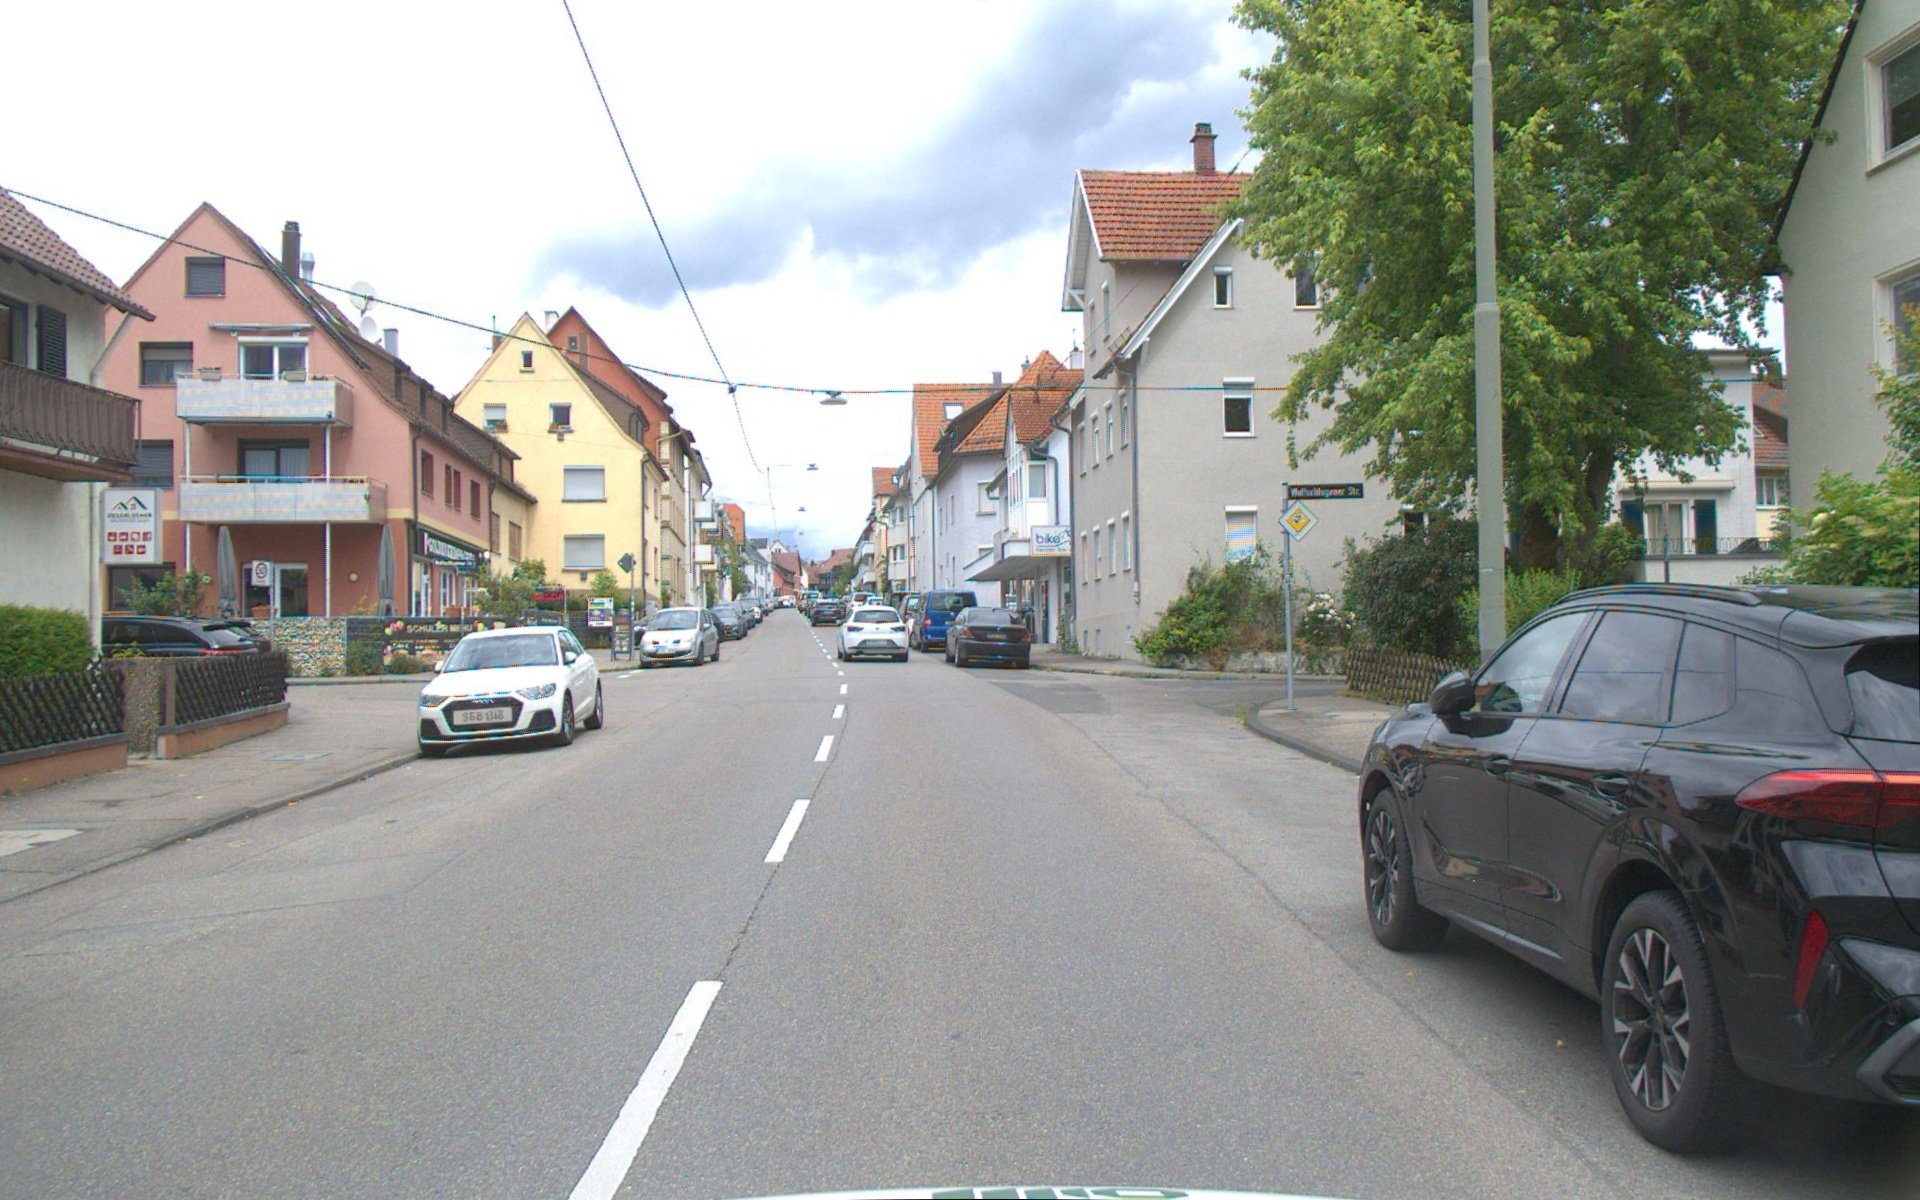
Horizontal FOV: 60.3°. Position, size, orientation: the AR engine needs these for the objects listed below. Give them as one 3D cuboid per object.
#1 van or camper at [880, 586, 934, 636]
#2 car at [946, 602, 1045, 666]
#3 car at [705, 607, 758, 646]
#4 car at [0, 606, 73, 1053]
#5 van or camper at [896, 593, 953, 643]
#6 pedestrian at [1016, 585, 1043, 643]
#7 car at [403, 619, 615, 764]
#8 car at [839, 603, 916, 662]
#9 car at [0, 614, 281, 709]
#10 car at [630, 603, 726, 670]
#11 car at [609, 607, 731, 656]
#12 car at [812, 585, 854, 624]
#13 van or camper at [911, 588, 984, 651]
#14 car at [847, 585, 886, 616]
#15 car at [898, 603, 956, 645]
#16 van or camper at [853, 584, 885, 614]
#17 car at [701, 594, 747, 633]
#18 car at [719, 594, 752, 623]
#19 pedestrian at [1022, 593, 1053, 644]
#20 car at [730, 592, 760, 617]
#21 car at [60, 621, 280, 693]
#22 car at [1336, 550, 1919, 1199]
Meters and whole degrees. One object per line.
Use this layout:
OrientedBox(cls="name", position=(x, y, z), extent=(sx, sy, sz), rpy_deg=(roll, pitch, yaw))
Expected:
OrientedBox(cls="van or camper", position=(-2.402, 0.472, 73.674), extent=(1.955, 2.102, 5.937), rpy_deg=(1, 0, -6))
OrientedBox(cls="car", position=(0.863, 0.851, 42.862), extent=(1.955, 1.544, 4.885), rpy_deg=(1, 0, -6))
OrientedBox(cls="car", position=(-9.985, 1.136, 72.550), extent=(1.955, 1.497, 4.239), rpy_deg=(-4, 1, -5))
OrientedBox(cls="car", position=(-4.593, 0.935, 4.437), extent=(1.810, 1.709, 4.785), rpy_deg=(-5, 0, -1))
OrientedBox(cls="van or camper", position=(-1.450, 0.687, 65.967), extent=(1.835, 1.861, 4.673), rpy_deg=(1, 0, -6))
OrientedBox(cls="pedestrian", position=(2.474, 0.499, 58.725), extent=(0.745, 2.049, 0.618), rpy_deg=(-1, 0, 29))
OrientedBox(cls="car", position=(-5.520, 1.061, 20.711), extent=(1.692, 1.483, 3.896), rpy_deg=(-5, 0, -4))
OrientedBox(cls="car", position=(-2.256, 0.836, 44.375), extent=(1.903, 1.464, 3.996), rpy_deg=(0, 0, -5))
OrientedBox(cls="car", position=(-14.036, 1.009, 27.779), extent=(4.426, 1.498, 2.000), rpy_deg=(0, 0, -1))
OrientedBox(cls="car", position=(-7.742, 0.967, 45.801), extent=(1.796, 1.605, 4.032), rpy_deg=(-4, 0, 1))
OrientedBox(cls="car", position=(-10.280, 1.132, 58.764), extent=(4.154, 1.498, 1.994), rpy_deg=(-2, -4, -11))
OrientedBox(cls="car", position=(-7.025, 0.244, 91.037), extent=(2.111, 2.049, 3.994), rpy_deg=(0, 0, -7))
OrientedBox(cls="van or camper", position=(-0.463, 0.603, 54.006), extent=(1.889, 1.959, 4.824), rpy_deg=(0, 0, -7))
OrientedBox(cls="car", position=(-5.424, 0.031, 95.552), extent=(1.904, 1.722, 3.994), rpy_deg=(2, 0, -7))
OrientedBox(cls="car", position=(-1.243, 0.844, 60.698), extent=(1.681, 1.461, 4.633), rpy_deg=(1, 0, -6))
OrientedBox(cls="van or camper", position=(-6.530, -0.052, 117.814), extent=(1.904, 2.090, 4.555), rpy_deg=(0, 0, -8))
OrientedBox(cls="car", position=(-11.165, 0.603, 78.532), extent=(1.956, 1.679, 4.547), rpy_deg=(-4, 1, -7))
OrientedBox(cls="car", position=(-12.747, 0.482, 94.145), extent=(1.611, 1.499, 4.174), rpy_deg=(-4, 1, -6))
OrientedBox(cls="pedestrian", position=(2.673, 0.631, 57.118), extent=(0.854, 1.755, 0.618), rpy_deg=(-1, 0, 29))
OrientedBox(cls="car", position=(-14.838, 0.275, 114.344), extent=(1.955, 1.680, 3.995), rpy_deg=(-1, 0, -6))
OrientedBox(cls="car", position=(-18.149, 1.323, 38.070), extent=(4.311, 1.498, 2.001), rpy_deg=(-2, -3, 15))
OrientedBox(cls="car", position=(2.829, 0.739, 6.035), extent=(1.774, 1.643, 4.537), rpy_deg=(1, -1, -2))
